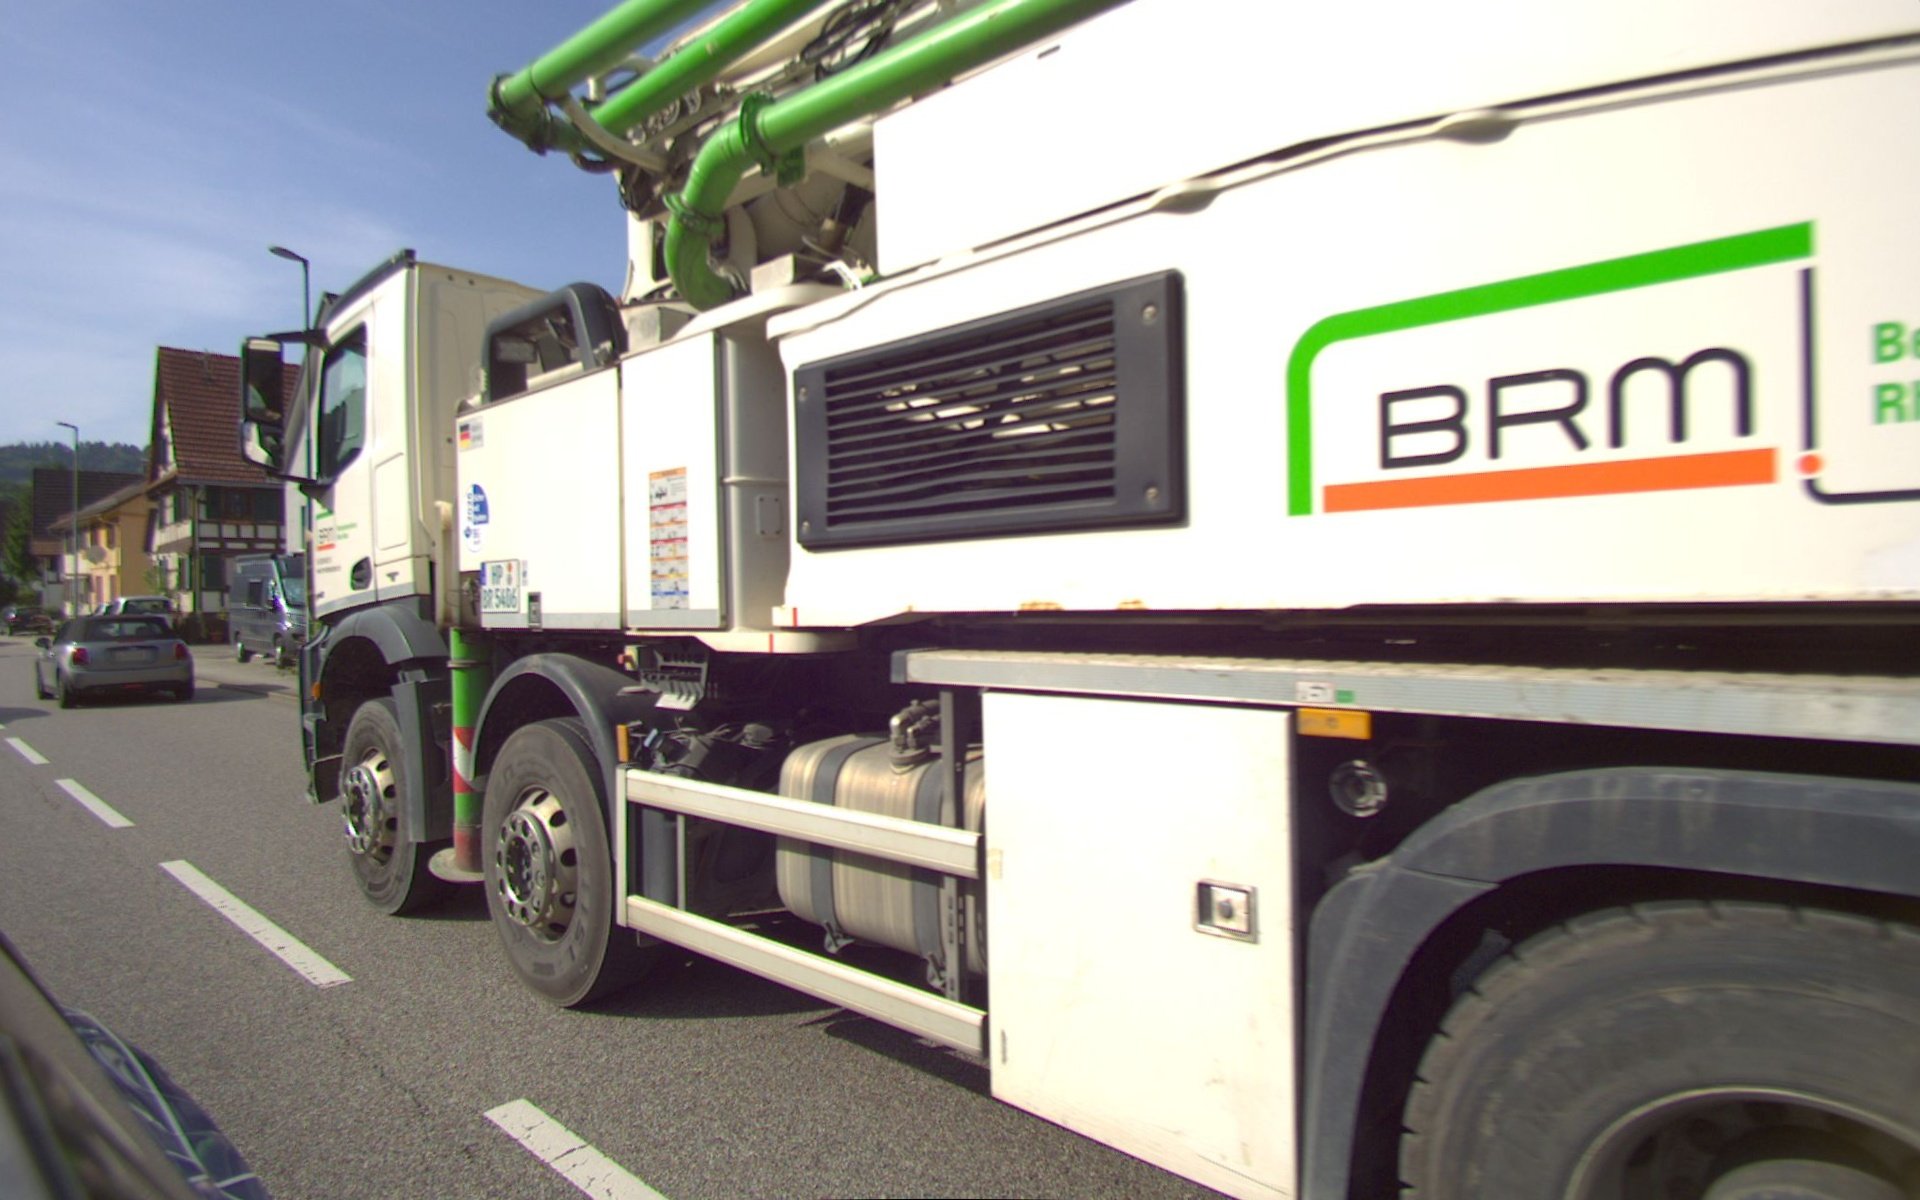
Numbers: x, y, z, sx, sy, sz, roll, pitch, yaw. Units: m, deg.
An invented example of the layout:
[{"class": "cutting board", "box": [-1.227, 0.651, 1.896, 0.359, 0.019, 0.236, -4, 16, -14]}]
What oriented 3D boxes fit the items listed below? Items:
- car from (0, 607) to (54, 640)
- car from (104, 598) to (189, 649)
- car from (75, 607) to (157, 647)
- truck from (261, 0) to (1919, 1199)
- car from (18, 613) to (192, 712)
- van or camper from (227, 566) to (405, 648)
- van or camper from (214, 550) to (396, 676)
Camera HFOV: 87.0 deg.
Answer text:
[{"class": "car", "box": [-48.597, 1.191, 52.226, 4.229, 1.530, 1.867, -1, 2, 37]}, {"class": "car", "box": [-29.336, 0.816, 36.446, 4.269, 1.677, 1.879, 0, 1, 45]}, {"class": "car", "box": [-34.032, 1.053, 40.783, 4.091, 1.530, 1.865, -1, -1, 40]}, {"class": "truck", "box": [0.992, -0.559, 2.994, 11.303, 3.961, 2.550, -1, 0, 42]}, {"class": "car", "box": [-14.459, 0.953, 17.043, 3.999, 1.413, 1.695, 0, 1, 42]}, {"class": "van or camper", "box": [-23.388, 0.195, 36.888, 5.113, 2.683, 2.195, -3, 2, -42]}, {"class": "van or camper", "box": [-15.279, 0.277, 23.439, 5.901, 2.574, 2.125, -1, 0, 43]}]
